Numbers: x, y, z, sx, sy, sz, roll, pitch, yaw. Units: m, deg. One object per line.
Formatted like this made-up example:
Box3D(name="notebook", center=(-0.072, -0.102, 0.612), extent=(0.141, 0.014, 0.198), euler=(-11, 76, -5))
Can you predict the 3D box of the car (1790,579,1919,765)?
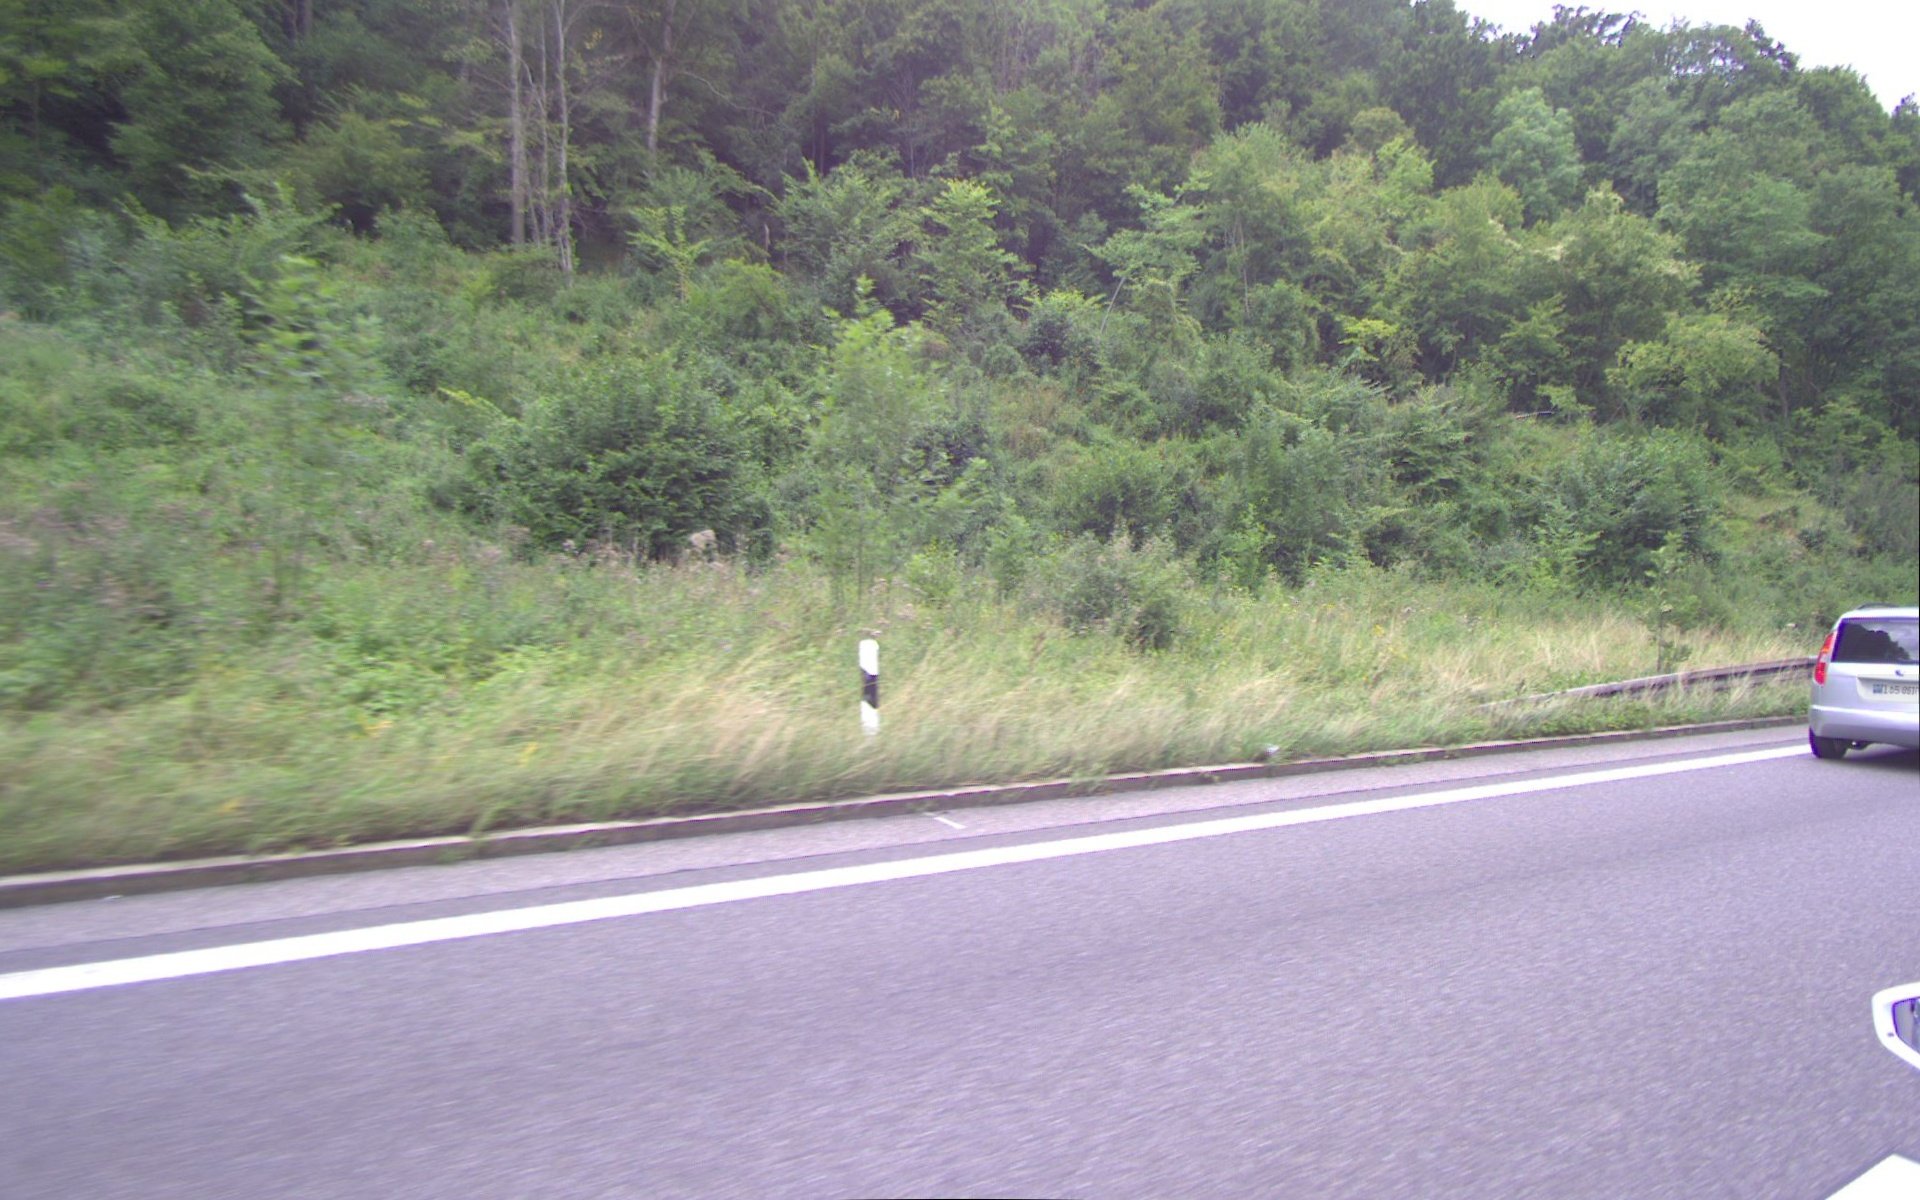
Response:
Box3D(name="car", center=(10.804, 0.735, 10.782), extent=(4.296, 1.749, 1.625), euler=(2, 0, -32))
